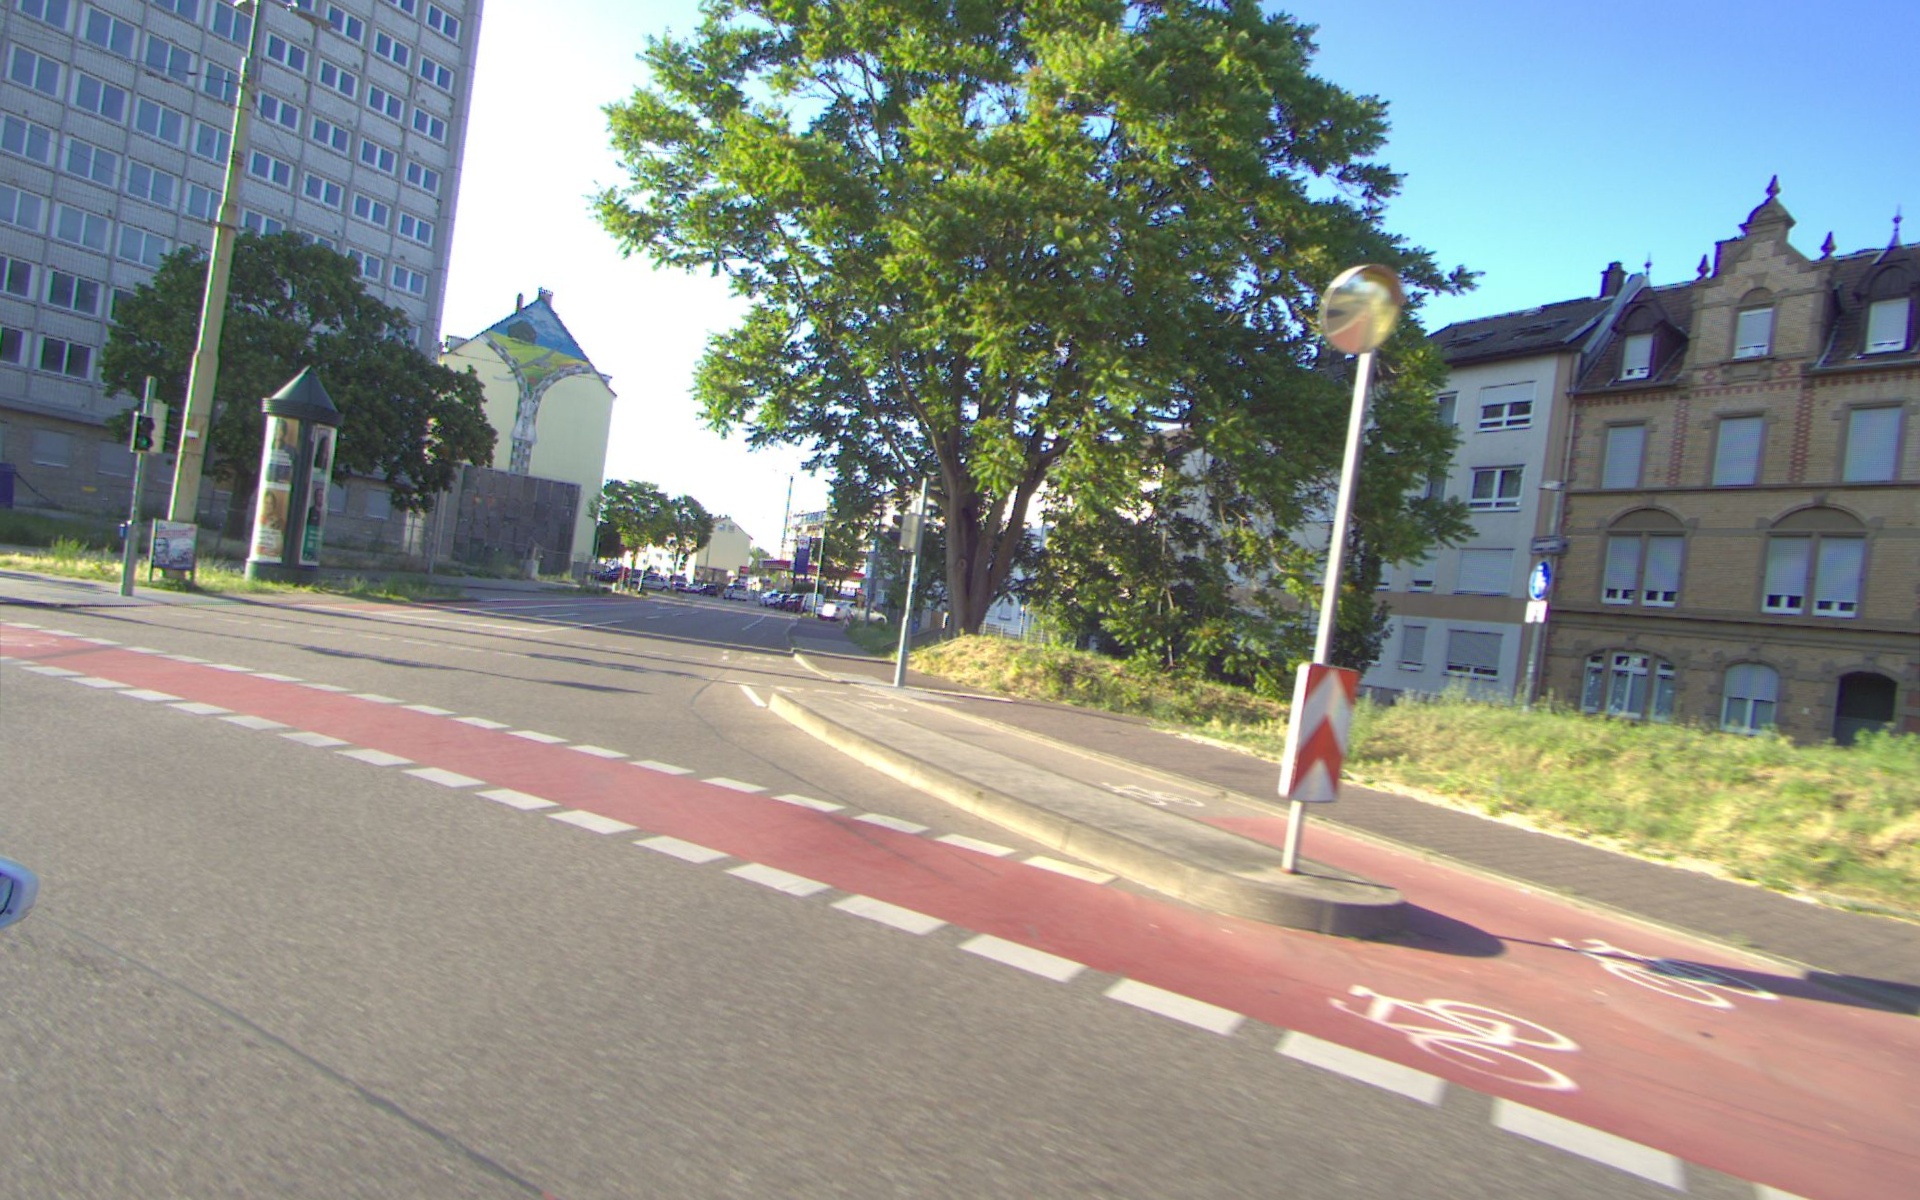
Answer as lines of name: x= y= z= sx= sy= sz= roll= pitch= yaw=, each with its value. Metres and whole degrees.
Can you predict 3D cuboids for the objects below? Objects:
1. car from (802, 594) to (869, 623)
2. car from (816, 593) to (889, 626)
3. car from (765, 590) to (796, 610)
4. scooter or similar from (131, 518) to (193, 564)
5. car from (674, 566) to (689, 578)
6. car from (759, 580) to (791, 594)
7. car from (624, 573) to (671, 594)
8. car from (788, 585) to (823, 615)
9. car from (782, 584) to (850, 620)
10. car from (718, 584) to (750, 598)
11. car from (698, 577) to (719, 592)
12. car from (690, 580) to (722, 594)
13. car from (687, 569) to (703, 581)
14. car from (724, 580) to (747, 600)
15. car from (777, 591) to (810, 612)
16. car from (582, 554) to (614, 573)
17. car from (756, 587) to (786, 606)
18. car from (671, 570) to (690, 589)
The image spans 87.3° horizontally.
car: x=-8.206 y=0.568 z=66.432 sx=1.878 sy=1.443 sz=3.979 roll=6 pitch=-1 yaw=43
car: x=-6.757 y=0.609 z=63.483 sx=4.197 sy=1.582 sz=1.759 roll=7 pitch=0 yaw=-42
car: x=-16.457 y=-0.010 z=92.083 sx=1.865 sy=1.401 sz=3.979 roll=9 pitch=-1 yaw=-22
scooter or similar: x=-23.685 y=-1.736 z=29.871 sx=0.321 sy=1.184 sz=1.297 roll=8 pitch=0 yaw=36
car: x=-44.757 y=-4.509 z=161.620 sx=1.838 sy=1.562 sz=3.983 roll=7 pitch=0 yaw=-19
car: x=-26.289 y=-1.913 z=143.055 sx=4.007 sy=1.476 sz=1.870 roll=7 pitch=0 yaw=-23
car: x=-26.992 y=-1.424 z=86.862 sx=3.667 sy=1.317 sz=1.502 roll=8 pitch=-1 yaw=-25
car: x=-12.503 y=-0.027 z=81.467 sx=1.971 sy=2.038 sz=3.984 roll=7 pitch=0 yaw=-18
car: x=-9.968 y=0.154 z=69.835 sx=1.974 sy=2.038 sz=4.203 roll=7 pitch=0 yaw=44
car: x=-31.518 y=-1.277 z=140.282 sx=4.007 sy=1.476 sz=1.870 roll=7 pitch=0 yaw=-23
car: x=-32.627 y=-2.035 z=130.259 sx=1.910 sy=1.562 sz=3.978 roll=7 pitch=0 yaw=-23
car: x=-35.936 y=-1.850 z=142.312 sx=4.007 sy=1.476 sz=1.870 roll=7 pitch=0 yaw=-23
car: x=-39.215 y=-3.713 z=148.813 sx=1.838 sy=1.562 sz=3.862 roll=7 pitch=0 yaw=-19
car: x=-25.280 y=-1.098 z=113.355 sx=1.839 sy=1.927 sz=3.982 roll=7 pitch=0 yaw=-20
car: x=-14.427 y=0.135 z=87.006 sx=1.894 sy=1.401 sz=3.955 roll=9 pitch=-1 yaw=-22
car: x=-48.611 y=-4.906 z=135.099 sx=3.944 sy=1.927 sz=1.856 roll=7 pitch=0 yaw=-20
car: x=-18.259 y=-0.322 z=97.112 sx=1.810 sy=1.401 sz=3.976 roll=9 pitch=-1 yaw=-24
car: x=-32.510 y=-2.400 z=116.933 sx=1.837 sy=1.927 sz=3.986 roll=7 pitch=0 yaw=-16
